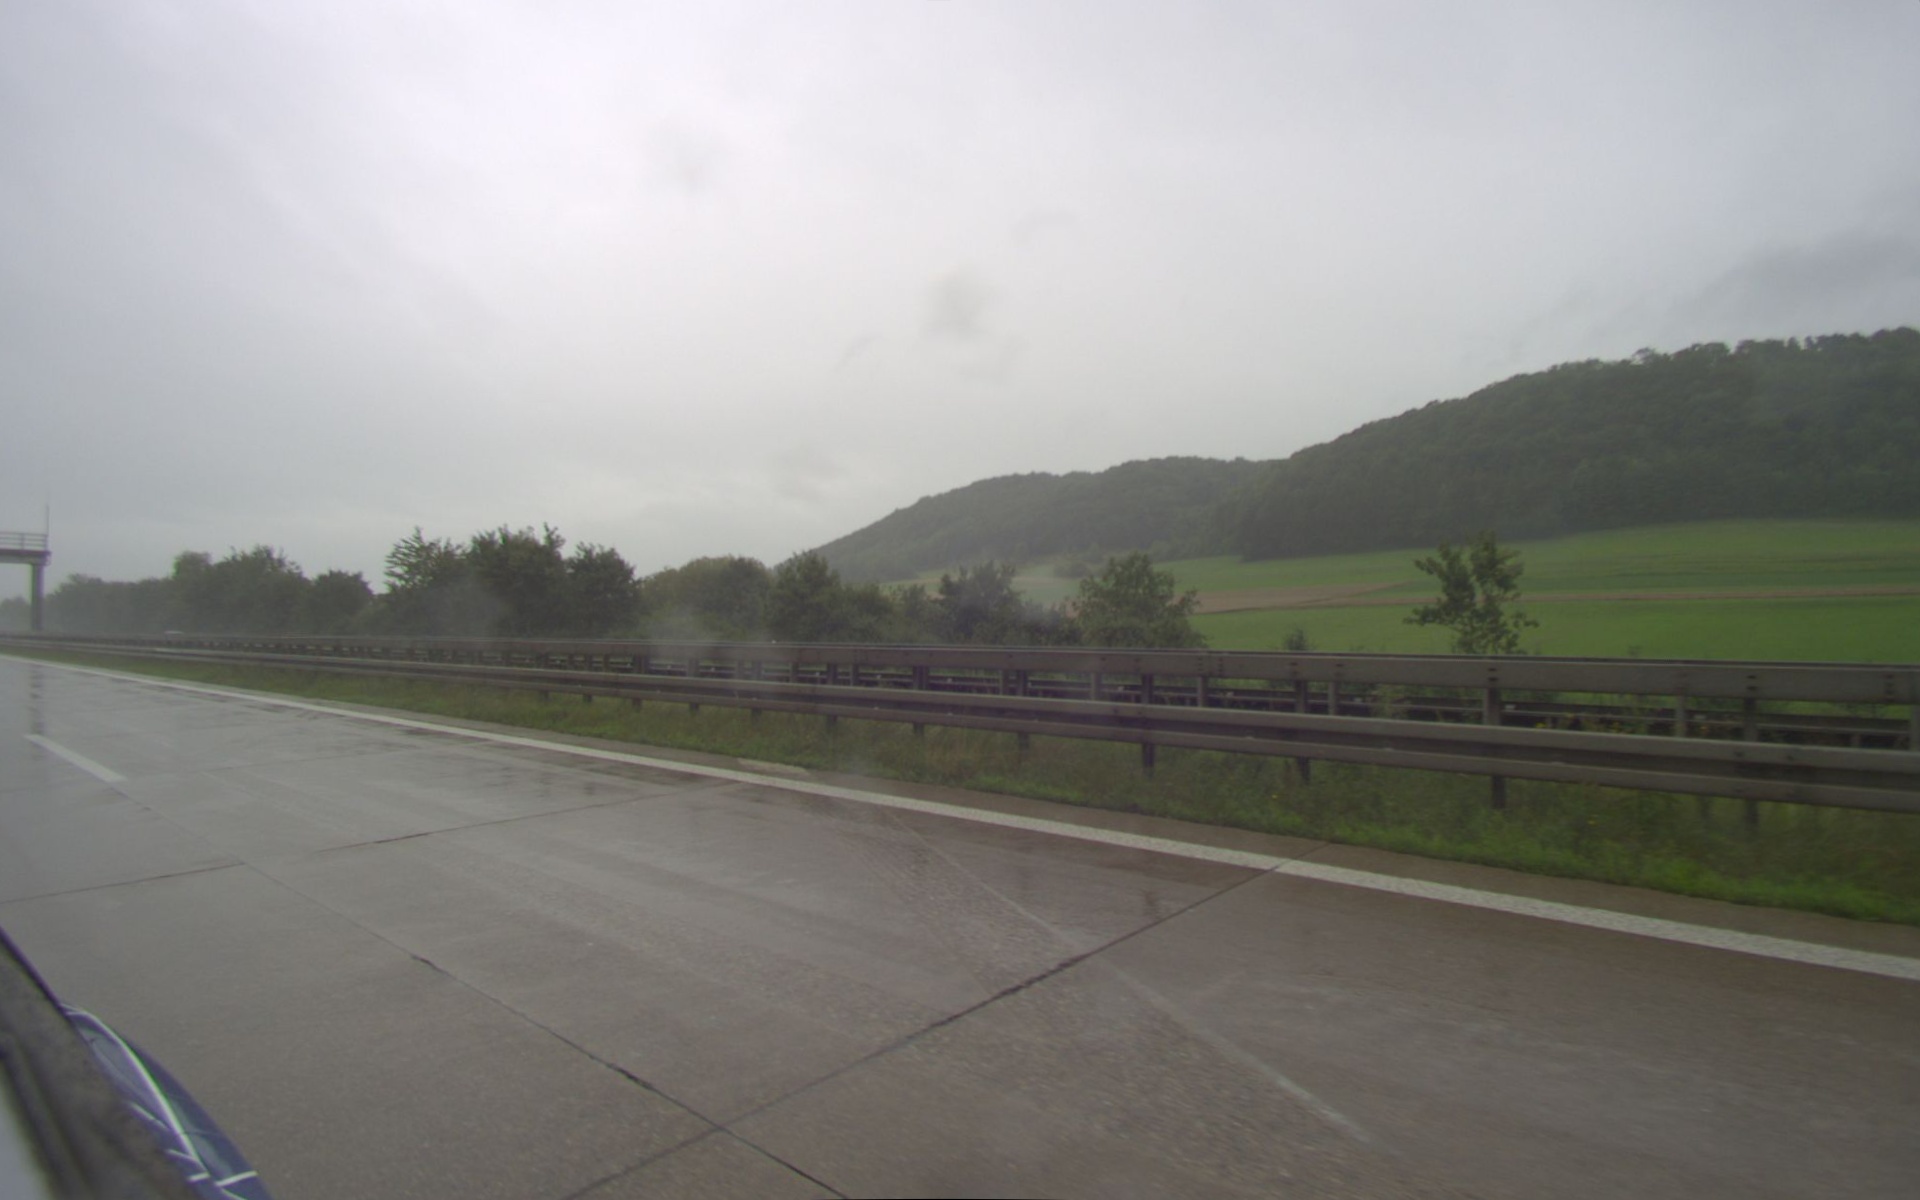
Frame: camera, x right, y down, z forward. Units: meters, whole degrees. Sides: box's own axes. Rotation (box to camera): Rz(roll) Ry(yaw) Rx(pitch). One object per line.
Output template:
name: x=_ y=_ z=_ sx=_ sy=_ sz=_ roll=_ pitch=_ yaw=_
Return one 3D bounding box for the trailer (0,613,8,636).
trailer: x=-181.964 y=4.682 z=190.261 sx=11.395 sy=4.205 sz=3.320 roll=-2 pitch=-1 yaw=41
